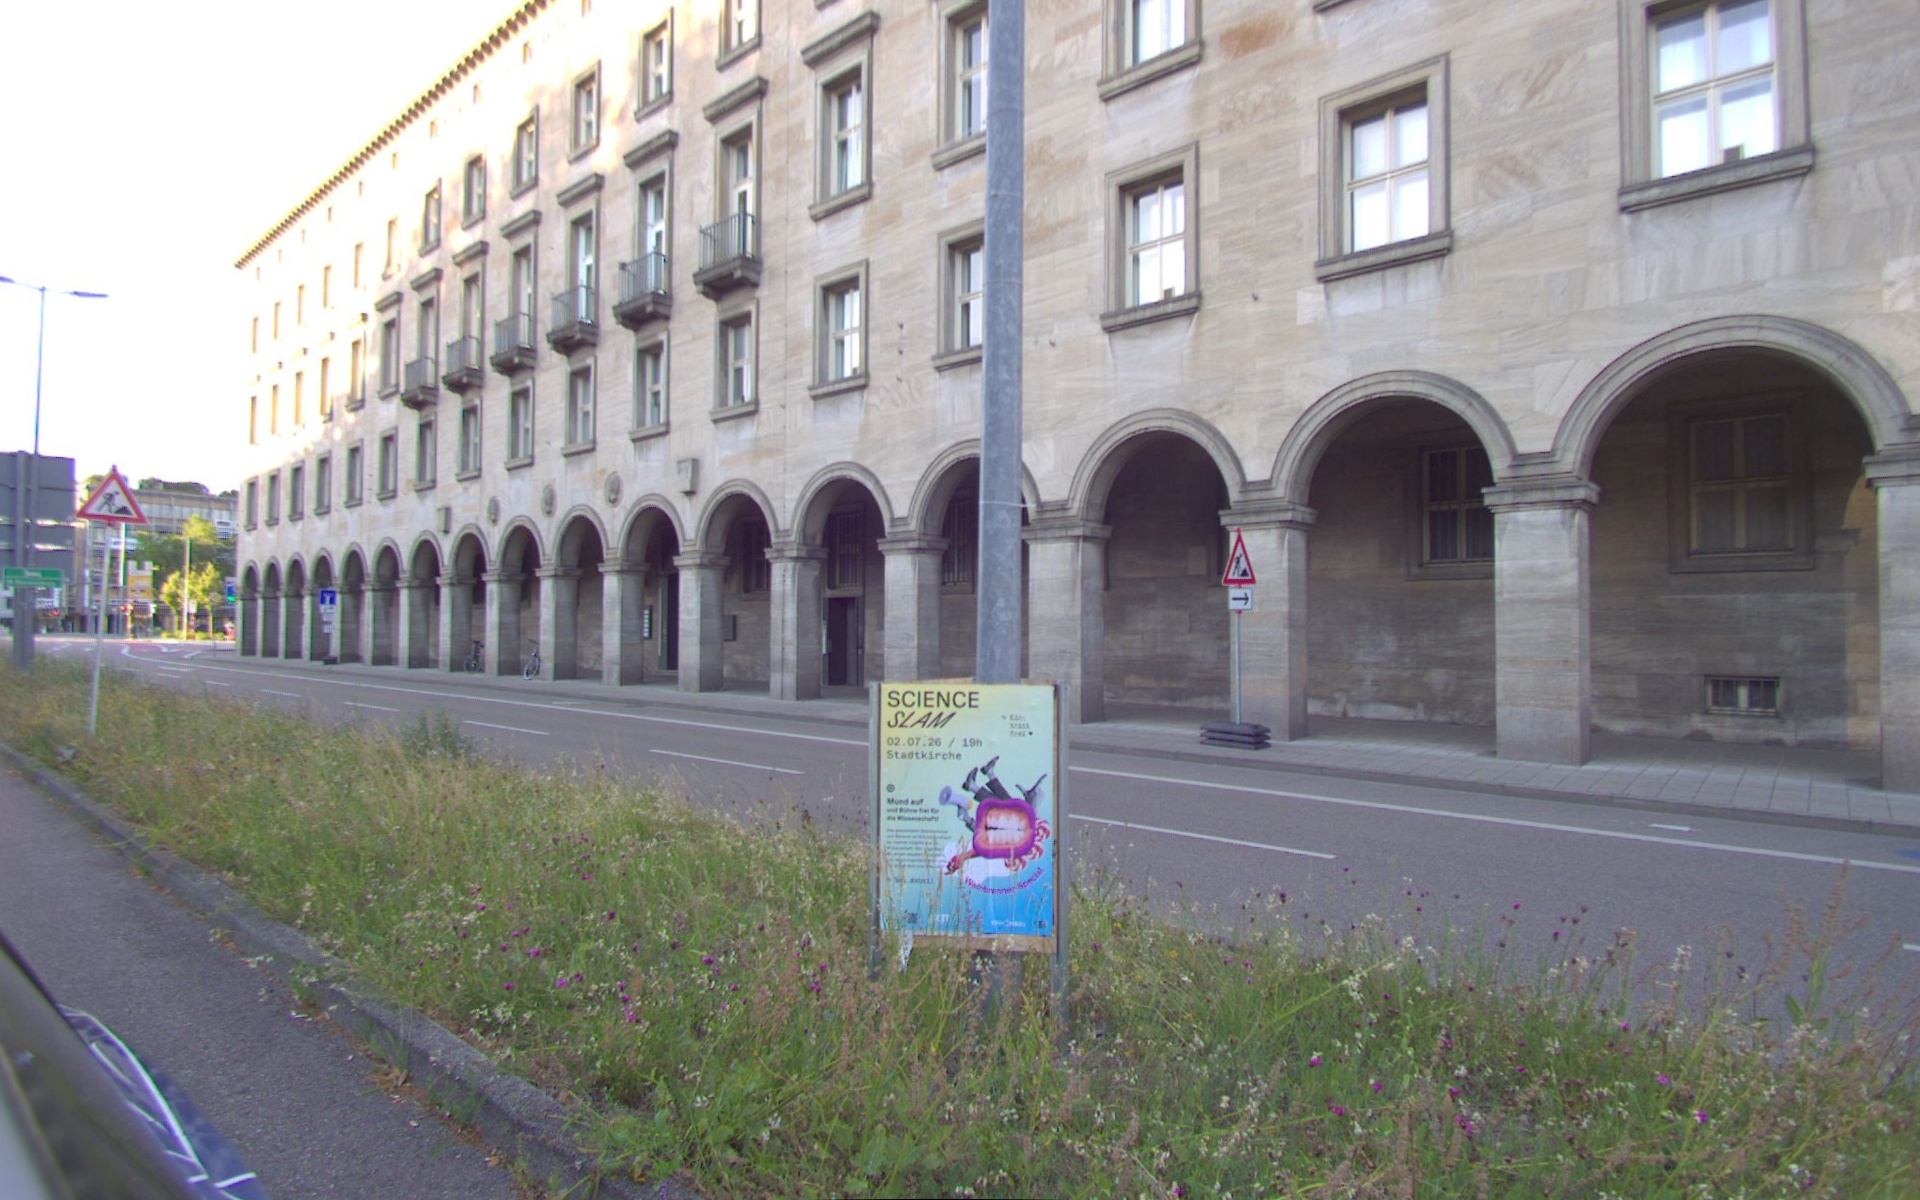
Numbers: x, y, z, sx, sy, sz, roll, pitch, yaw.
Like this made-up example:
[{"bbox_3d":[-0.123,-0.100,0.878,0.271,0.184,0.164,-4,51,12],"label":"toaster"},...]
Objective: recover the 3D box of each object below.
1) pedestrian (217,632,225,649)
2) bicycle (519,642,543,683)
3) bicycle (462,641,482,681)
[{"bbox_3d":[-67.795,3.674,92.813,0.389,1.553,0.519,-2,-3,41],"label":"pedestrian"},{"bbox_3d":[-12.805,1.842,30.248,0.505,1.130,2.431,1,-1,-20],"label":"bicycle"},{"bbox_3d":[-15.480,1.909,32.121,0.505,1.188,2.431,1,-2,-25],"label":"bicycle"}]
